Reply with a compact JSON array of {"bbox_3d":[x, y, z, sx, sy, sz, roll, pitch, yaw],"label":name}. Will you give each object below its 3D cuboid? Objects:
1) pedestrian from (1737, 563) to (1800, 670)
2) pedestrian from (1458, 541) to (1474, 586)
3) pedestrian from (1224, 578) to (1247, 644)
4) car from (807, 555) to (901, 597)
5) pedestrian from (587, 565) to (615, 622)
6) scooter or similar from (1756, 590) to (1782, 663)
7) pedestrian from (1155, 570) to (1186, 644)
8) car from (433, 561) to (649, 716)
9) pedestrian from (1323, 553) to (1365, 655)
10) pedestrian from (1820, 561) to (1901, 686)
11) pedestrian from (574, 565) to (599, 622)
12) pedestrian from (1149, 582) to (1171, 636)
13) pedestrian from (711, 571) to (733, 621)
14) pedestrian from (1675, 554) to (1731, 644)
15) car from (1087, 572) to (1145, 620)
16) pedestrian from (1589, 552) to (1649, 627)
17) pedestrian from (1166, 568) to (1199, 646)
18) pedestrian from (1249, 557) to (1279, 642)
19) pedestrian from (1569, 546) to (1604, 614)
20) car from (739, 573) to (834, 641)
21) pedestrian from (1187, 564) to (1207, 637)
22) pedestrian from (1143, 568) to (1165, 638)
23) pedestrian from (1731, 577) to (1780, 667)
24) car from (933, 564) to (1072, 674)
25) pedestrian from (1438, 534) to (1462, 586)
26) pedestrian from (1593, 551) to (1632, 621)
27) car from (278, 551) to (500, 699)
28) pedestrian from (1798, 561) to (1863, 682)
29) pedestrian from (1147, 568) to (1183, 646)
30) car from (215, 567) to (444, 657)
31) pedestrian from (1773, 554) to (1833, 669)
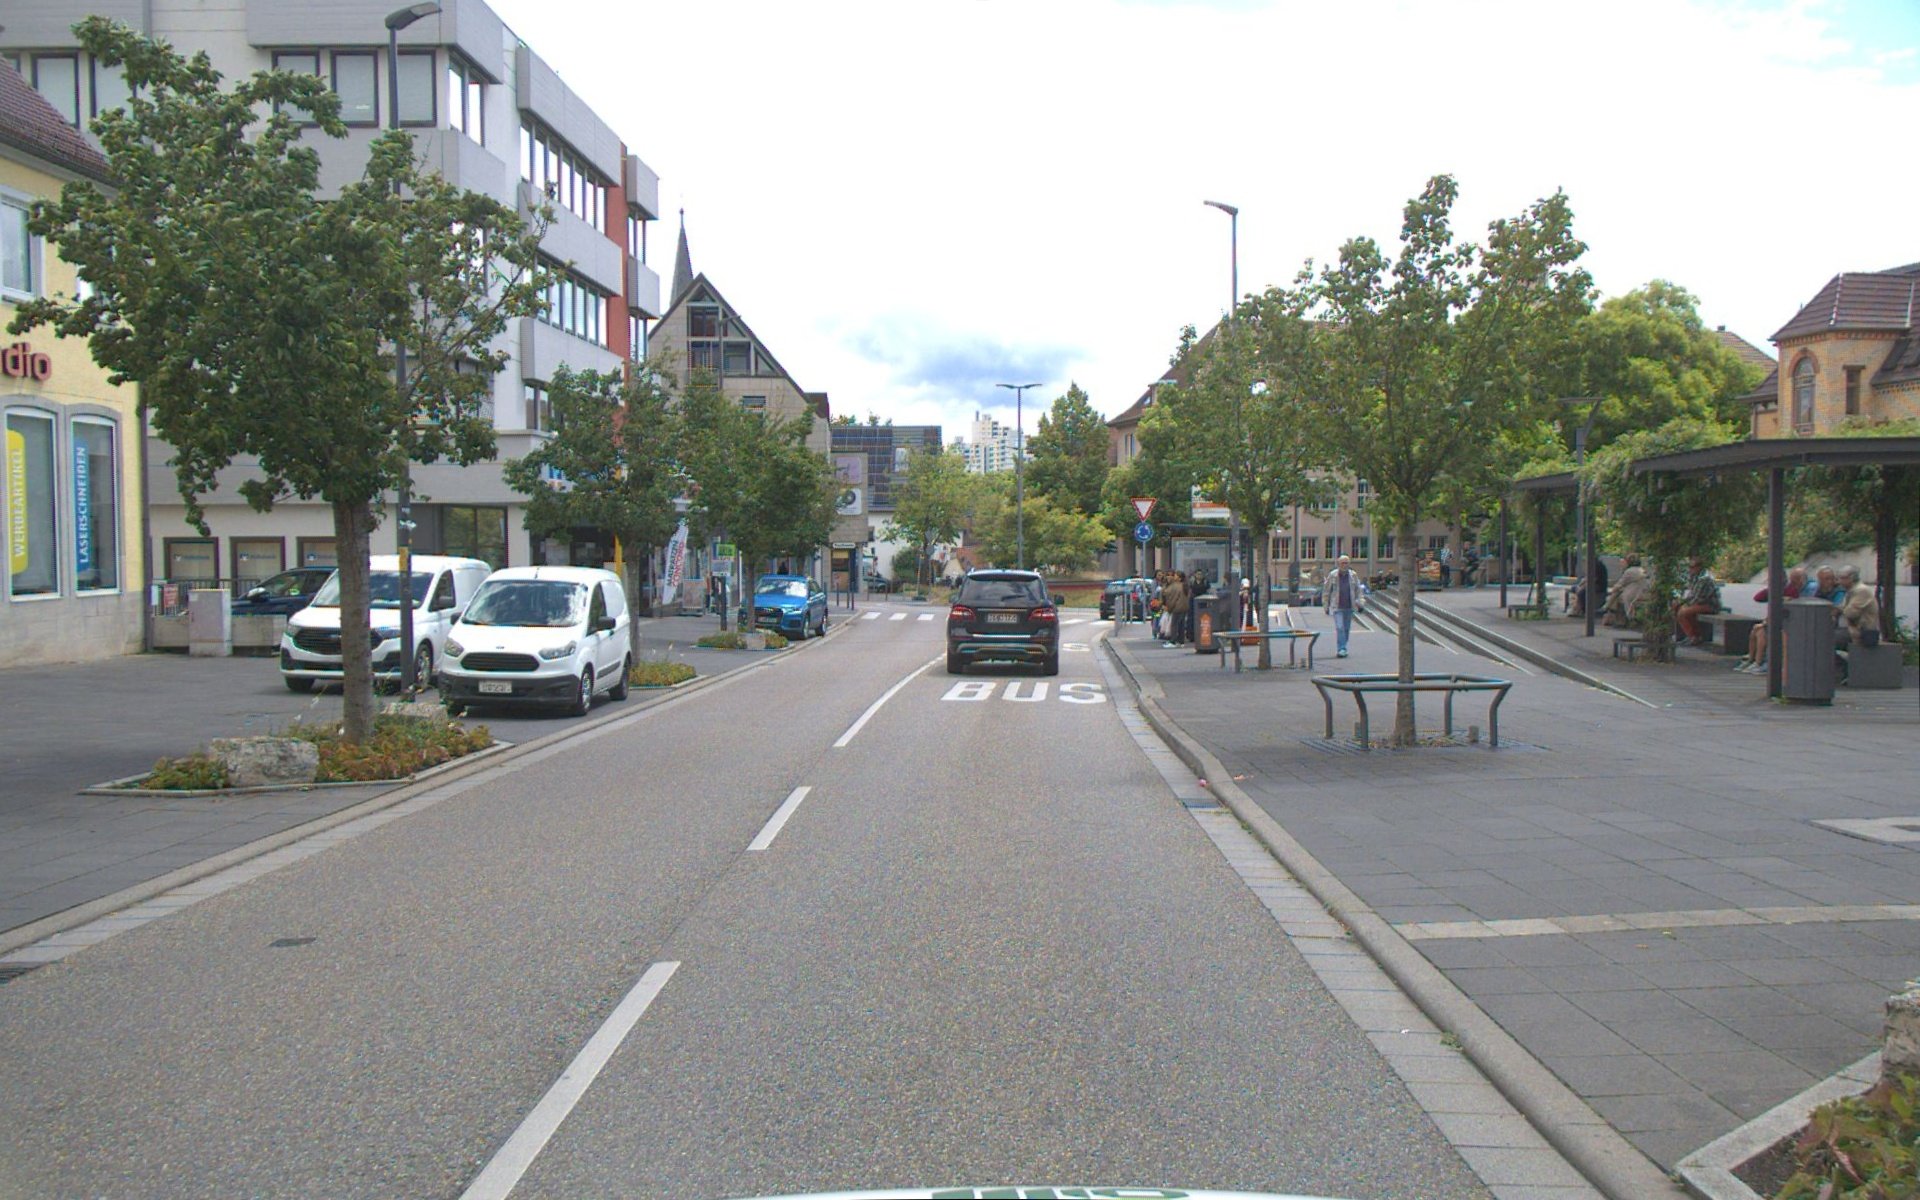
[{"bbox_3d":[10.020,0.196,20.512,0.556,1.284,0.542,-1,3,7],"label":"pedestrian"},{"bbox_3d":[15.053,-1.085,49.211,0.355,1.307,0.642,-1,1,8],"label":"pedestrian"},{"bbox_3d":[5.612,0.220,33.697,0.381,1.329,0.355,-2,0,4],"label":"pedestrian"},{"bbox_3d":[-7.423,-1.646,115.394,6.188,2.605,2.194,2,-2,-19],"label":"car"},{"bbox_3d":[-10.069,-0.188,46.363,0.630,1.593,0.586,-1,1,-1],"label":"pedestrian"},{"bbox_3d":[10.478,0.339,21.420,0.244,0.909,0.506,1,3,33],"label":"scooter or similar"},{"bbox_3d":[4.632,0.146,36.366,0.492,1.593,0.496,-1,1,-16],"label":"pedestrian"},{"bbox_3d":[-5.093,0.405,20.658,1.622,1.701,4.350,1,1,-1],"label":"car"},{"bbox_3d":[6.533,0.070,28.162,0.670,1.711,0.715,-1,0,13],"label":"pedestrian"},{"bbox_3d":[9.996,0.257,18.383,0.603,1.343,0.586,-1,3,6],"label":"pedestrian"},{"bbox_3d":[-10.590,-0.195,46.927,0.499,1.593,0.587,-1,1,3],"label":"pedestrian"},{"bbox_3d":[4.671,0.210,38.703,0.395,1.247,0.388,-1,1,25],"label":"pedestrian"},{"bbox_3d":[-7.763,-0.135,53.987,0.574,1.616,0.639,1,0,4],"label":"pedestrian"},{"bbox_3d":[11.224,-0.025,24.999,0.610,1.330,0.546,-1,1,6],"label":"pedestrian"},{"bbox_3d":[5.775,-0.169,61.590,2.009,1.615,4.376,3,1,4],"label":"car"},{"bbox_3d":[11.643,-0.192,29.235,0.670,1.291,0.759,0,1,-42],"label":"pedestrian"},{"bbox_3d":[4.552,0.145,33.784,0.503,1.576,0.486,-1,1,29],"label":"pedestrian"},{"bbox_3d":[6.176,-0.008,33.659,0.500,1.709,0.576,-1,1,2],"label":"pedestrian"},{"bbox_3d":[12.508,-0.395,33.032,0.555,1.346,0.546,0,1,12],"label":"pedestrian"},{"bbox_3d":[-4.550,0.154,43.914,1.659,1.627,4.334,3,1,5],"label":"car"},{"bbox_3d":[5.232,0.017,36.465,0.385,1.593,0.352,-1,1,4],"label":"pedestrian"},{"bbox_3d":[4.616,0.073,39.303,0.379,1.648,0.469,-2,0,18],"label":"pedestrian"},{"bbox_3d":[10.087,0.272,20.988,0.466,1.107,0.369,-1,3,7],"label":"pedestrian"},{"bbox_3d":[0.662,0.351,29.054,1.987,1.758,4.429,1,-1,-4],"label":"car"},{"bbox_3d":[14.453,-1.176,48.784,0.494,1.534,0.452,-1,1,-17],"label":"pedestrian"},{"bbox_3d":[11.888,-0.258,30.150,0.555,1.249,0.567,1,1,12],"label":"pedestrian"},{"bbox_3d":[-7.885,0.296,23.287,1.721,1.845,4.474,1,1,-3],"label":"car"},{"bbox_3d":[10.045,0.240,19.093,0.484,1.343,0.575,-1,3,6],"label":"pedestrian"},{"bbox_3d":[4.225,0.144,34.116,0.483,1.576,0.535,-2,1,-43],"label":"pedestrian"},{"bbox_3d":[-11.505,0.206,30.356,3.556,1.585,1.667,1,0,-4],"label":"car"},{"bbox_3d":[10.051,0.131,19.737,0.487,1.343,0.525,-1,3,7],"label":"pedestrian"}]
